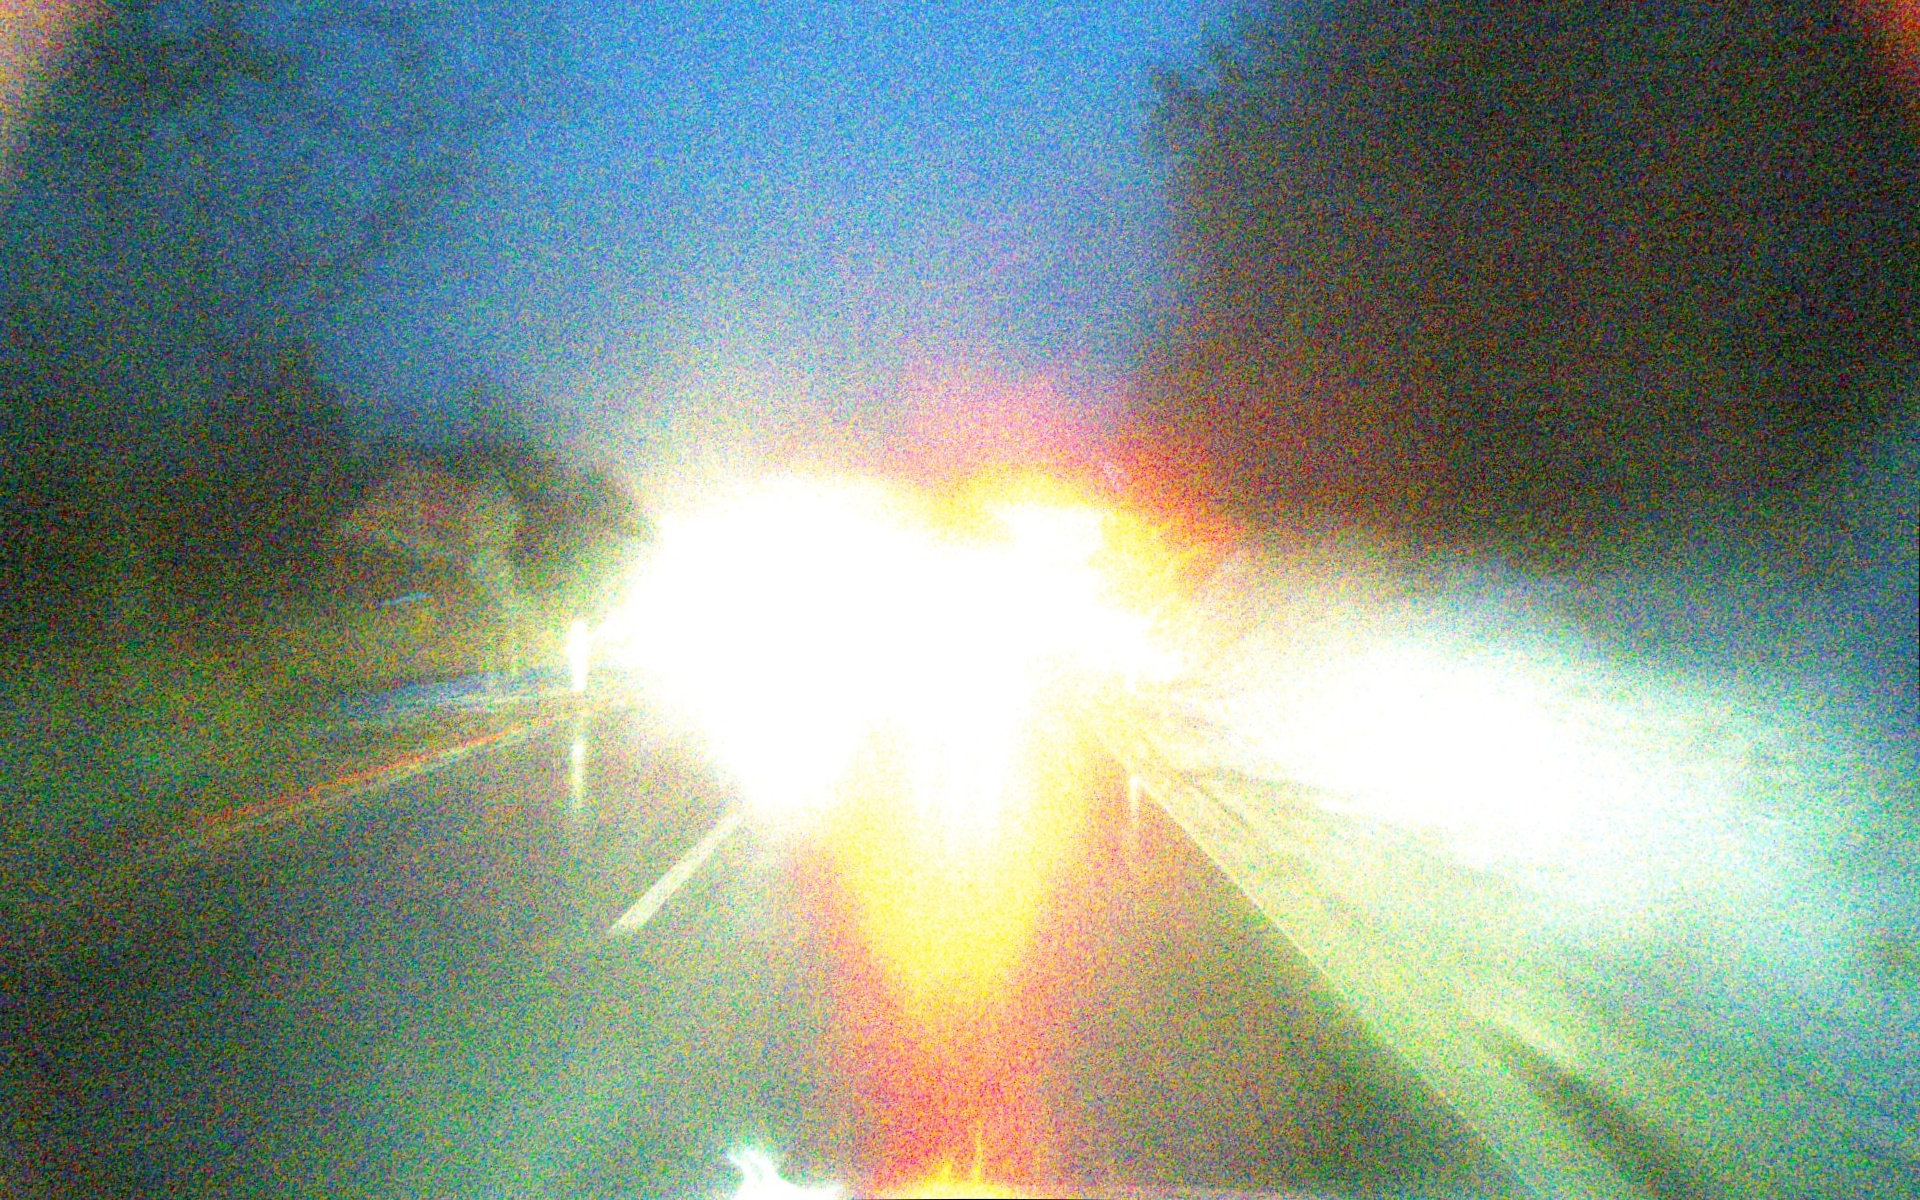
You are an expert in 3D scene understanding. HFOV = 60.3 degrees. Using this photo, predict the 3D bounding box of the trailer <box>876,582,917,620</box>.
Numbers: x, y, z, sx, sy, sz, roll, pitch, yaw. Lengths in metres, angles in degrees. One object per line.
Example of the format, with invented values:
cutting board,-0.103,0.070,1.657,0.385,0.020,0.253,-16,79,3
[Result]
trailer,-4.259,0.065,110.728,1.603,2.406,4.632,2,0,-16

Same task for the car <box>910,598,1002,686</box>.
car,-0.068,0.800,33.442,1.764,1.657,3.615,0,0,0

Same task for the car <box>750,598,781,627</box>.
car,-12.556,0.798,106.584,1.939,1.809,3.994,0,0,-7

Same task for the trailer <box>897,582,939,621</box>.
trailer,-2.725,0.099,106.062,1.579,2.393,4.411,2,0,-16
